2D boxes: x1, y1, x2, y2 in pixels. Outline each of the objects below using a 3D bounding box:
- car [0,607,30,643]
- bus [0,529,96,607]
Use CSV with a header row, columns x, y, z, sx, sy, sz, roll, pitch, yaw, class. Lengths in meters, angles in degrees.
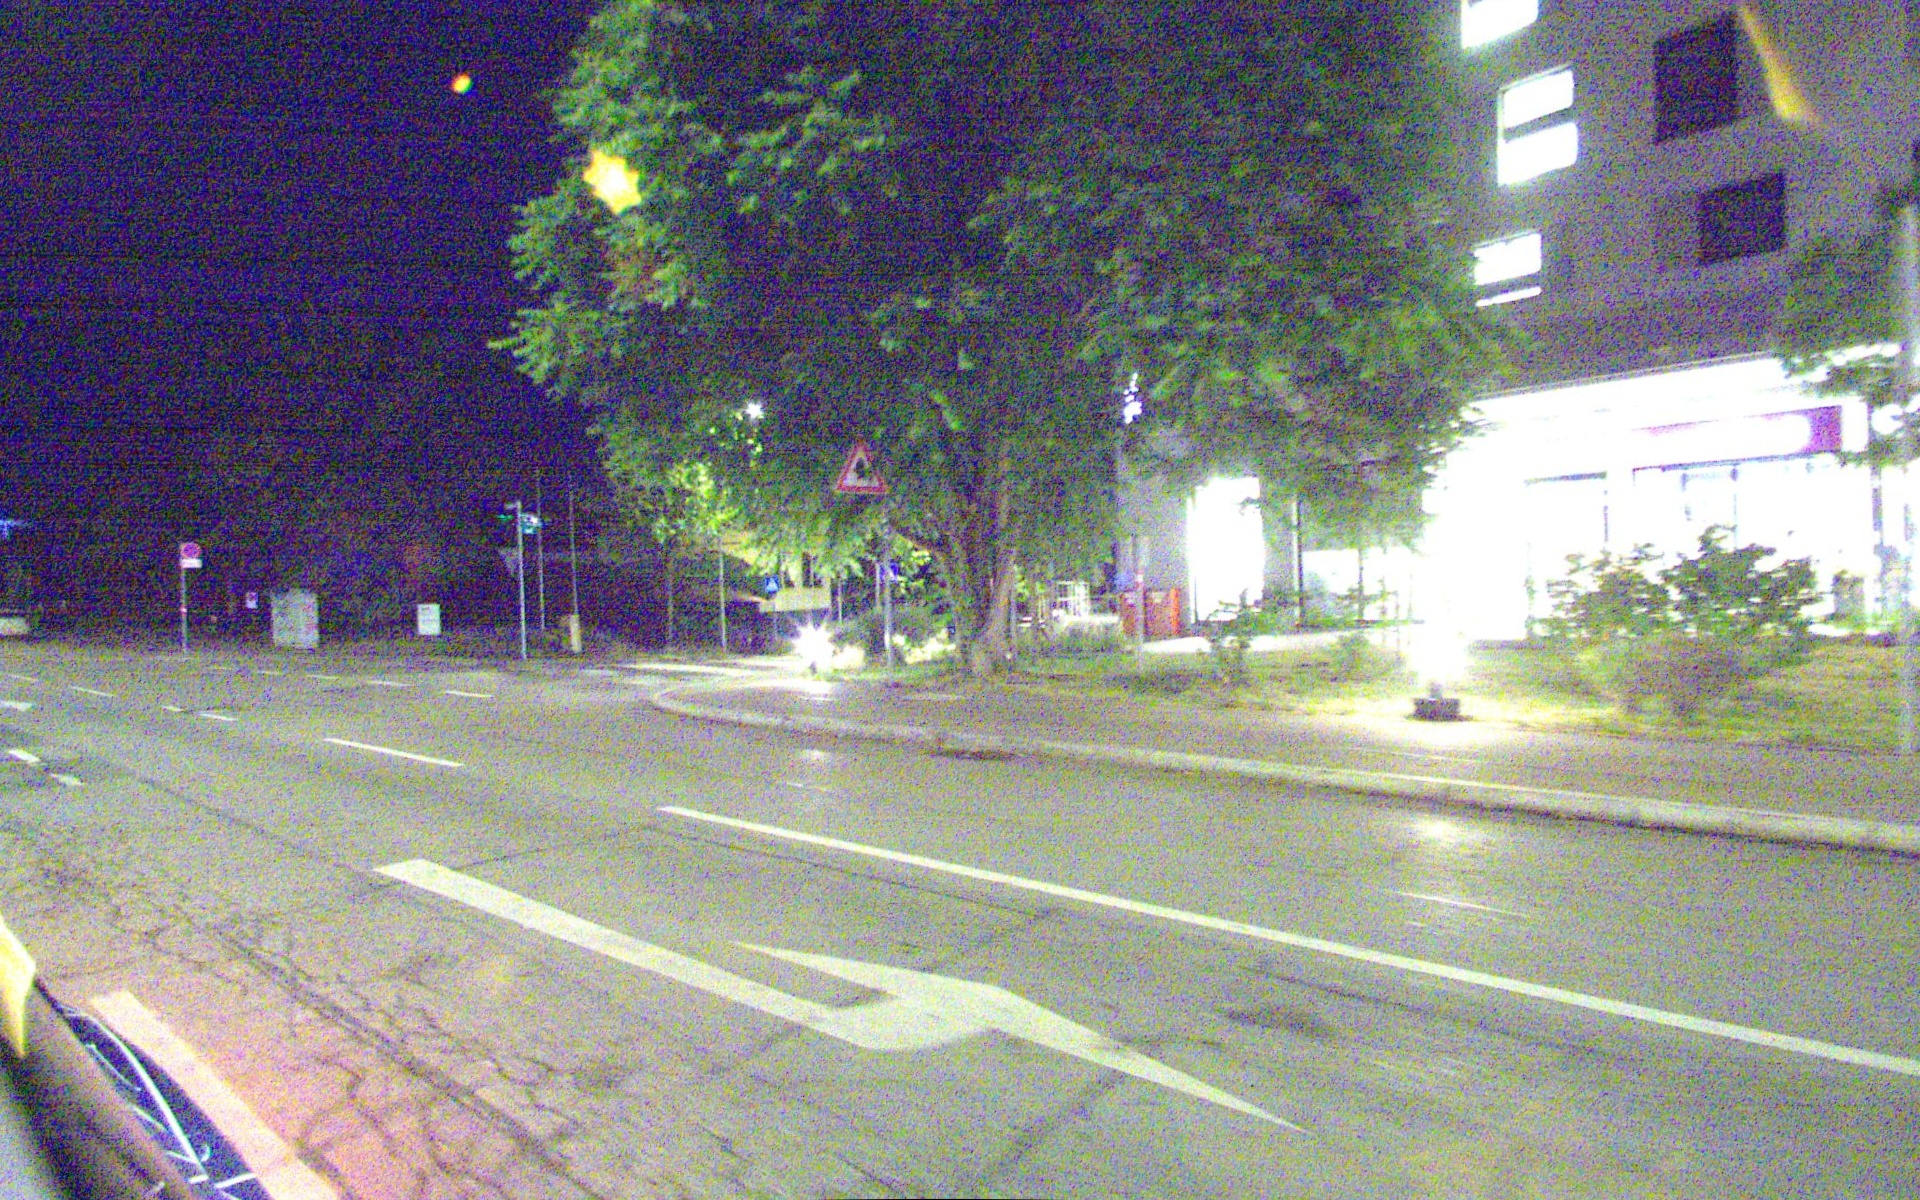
x,y,z,sx,sy,sz,roll,pitch,yaw,class
-43.763,1.128,45.935,3.997,1.604,1.783,-1,0,40,car
-89.416,-2.912,98.488,14.775,6.990,6.056,-1,0,41,bus
